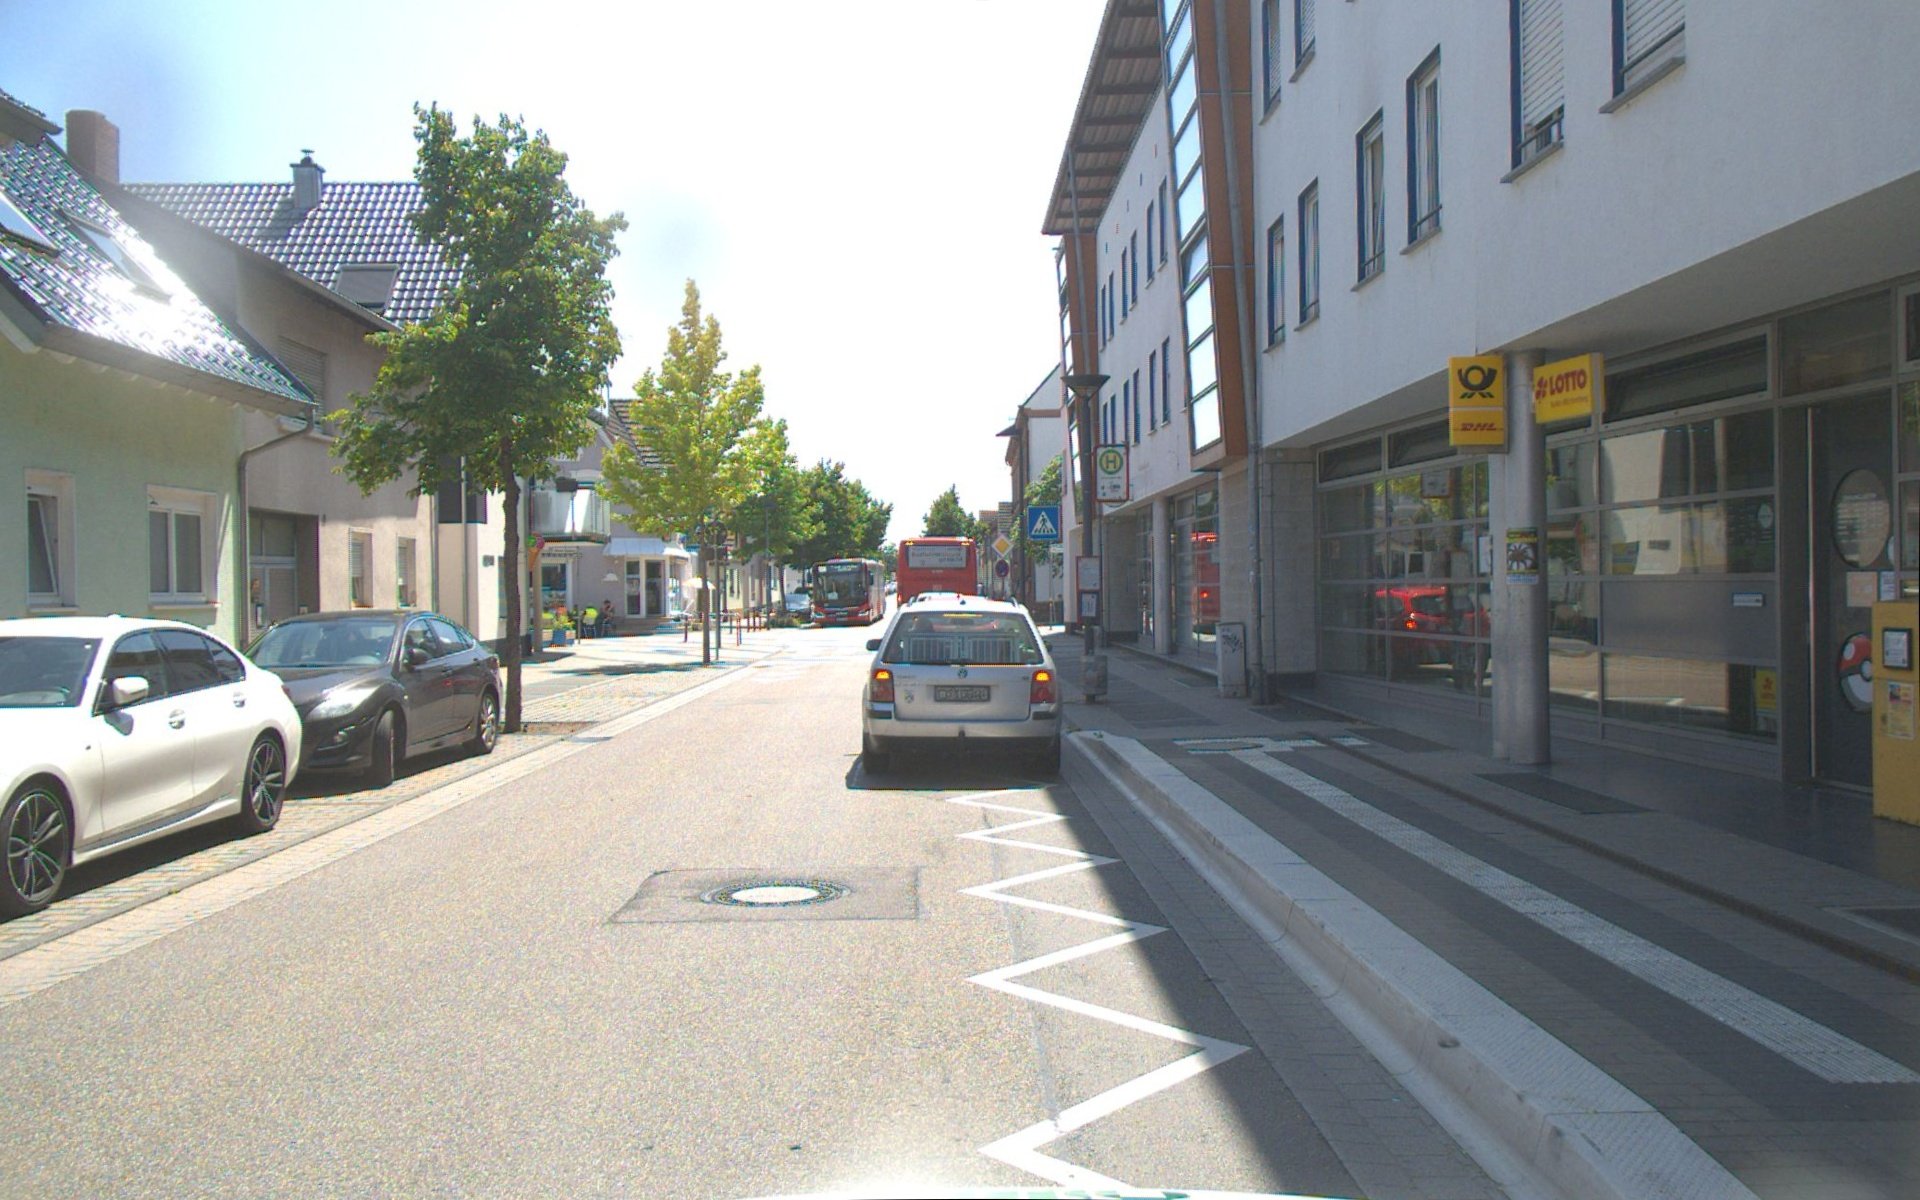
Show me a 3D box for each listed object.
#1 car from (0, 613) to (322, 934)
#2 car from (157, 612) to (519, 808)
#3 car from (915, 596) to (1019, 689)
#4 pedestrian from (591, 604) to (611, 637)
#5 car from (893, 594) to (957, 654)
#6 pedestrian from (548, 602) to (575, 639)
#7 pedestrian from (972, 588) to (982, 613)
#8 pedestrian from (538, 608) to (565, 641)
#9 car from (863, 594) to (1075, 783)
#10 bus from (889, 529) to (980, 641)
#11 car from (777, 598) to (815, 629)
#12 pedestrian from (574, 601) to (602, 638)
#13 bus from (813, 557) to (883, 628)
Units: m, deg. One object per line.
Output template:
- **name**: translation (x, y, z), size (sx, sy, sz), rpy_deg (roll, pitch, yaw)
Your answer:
- **car**: translation (-5.388, 0.836, 9.647), size (1.685, 1.462, 4.458), rpy_deg (-1, 0, -1)
- **car**: translation (-5.472, 0.876, 15.221), size (1.627, 1.462, 4.538), rpy_deg (-1, 0, 0)
- **car**: translation (0.062, 0.674, 28.098), size (1.643, 1.455, 3.678), rpy_deg (0, 0, -1)
- **pedestrian**: translation (-13.050, 0.747, 60.183), size (0.610, 1.199, 0.696), rpy_deg (-1, 0, -6)
- **car**: translation (-0.869, 0.583, 42.431), size (1.561, 1.455, 3.679), rpy_deg (0, 0, 0)
- **pedestrian**: translation (-14.302, 0.749, 59.355), size (0.631, 1.311, 0.776), rpy_deg (2, -1, -45)
- **pedestrian**: translation (1.199, 0.054, 114.640), size (0.594, 1.696, 0.789), rpy_deg (-1, 0, -3)
- **pedestrian**: translation (-14.436, 0.864, 58.433), size (0.631, 1.135, 0.776), rpy_deg (2, -1, -45)
- **car**: translation (0.028, 0.696, 14.947), size (1.643, 1.455, 3.678), rpy_deg (2, 0, -1)
- **bus**: translation (-1.031, -0.455, 56.412), size (2.685, 3.356, 12.698), rpy_deg (0, 0, -3)
- **car**: translation (-8.273, 0.663, 83.765), size (1.573, 1.463, 4.064), rpy_deg (-1, 0, -2)
- **pedestrian**: translation (-13.326, 0.690, 59.203), size (0.631, 1.311, 0.776), rpy_deg (2, -1, -45)
- **bus**: translation (-5.403, -0.395, 82.651), size (2.614, 3.178, 17.802), rpy_deg (0, 0, -1)
